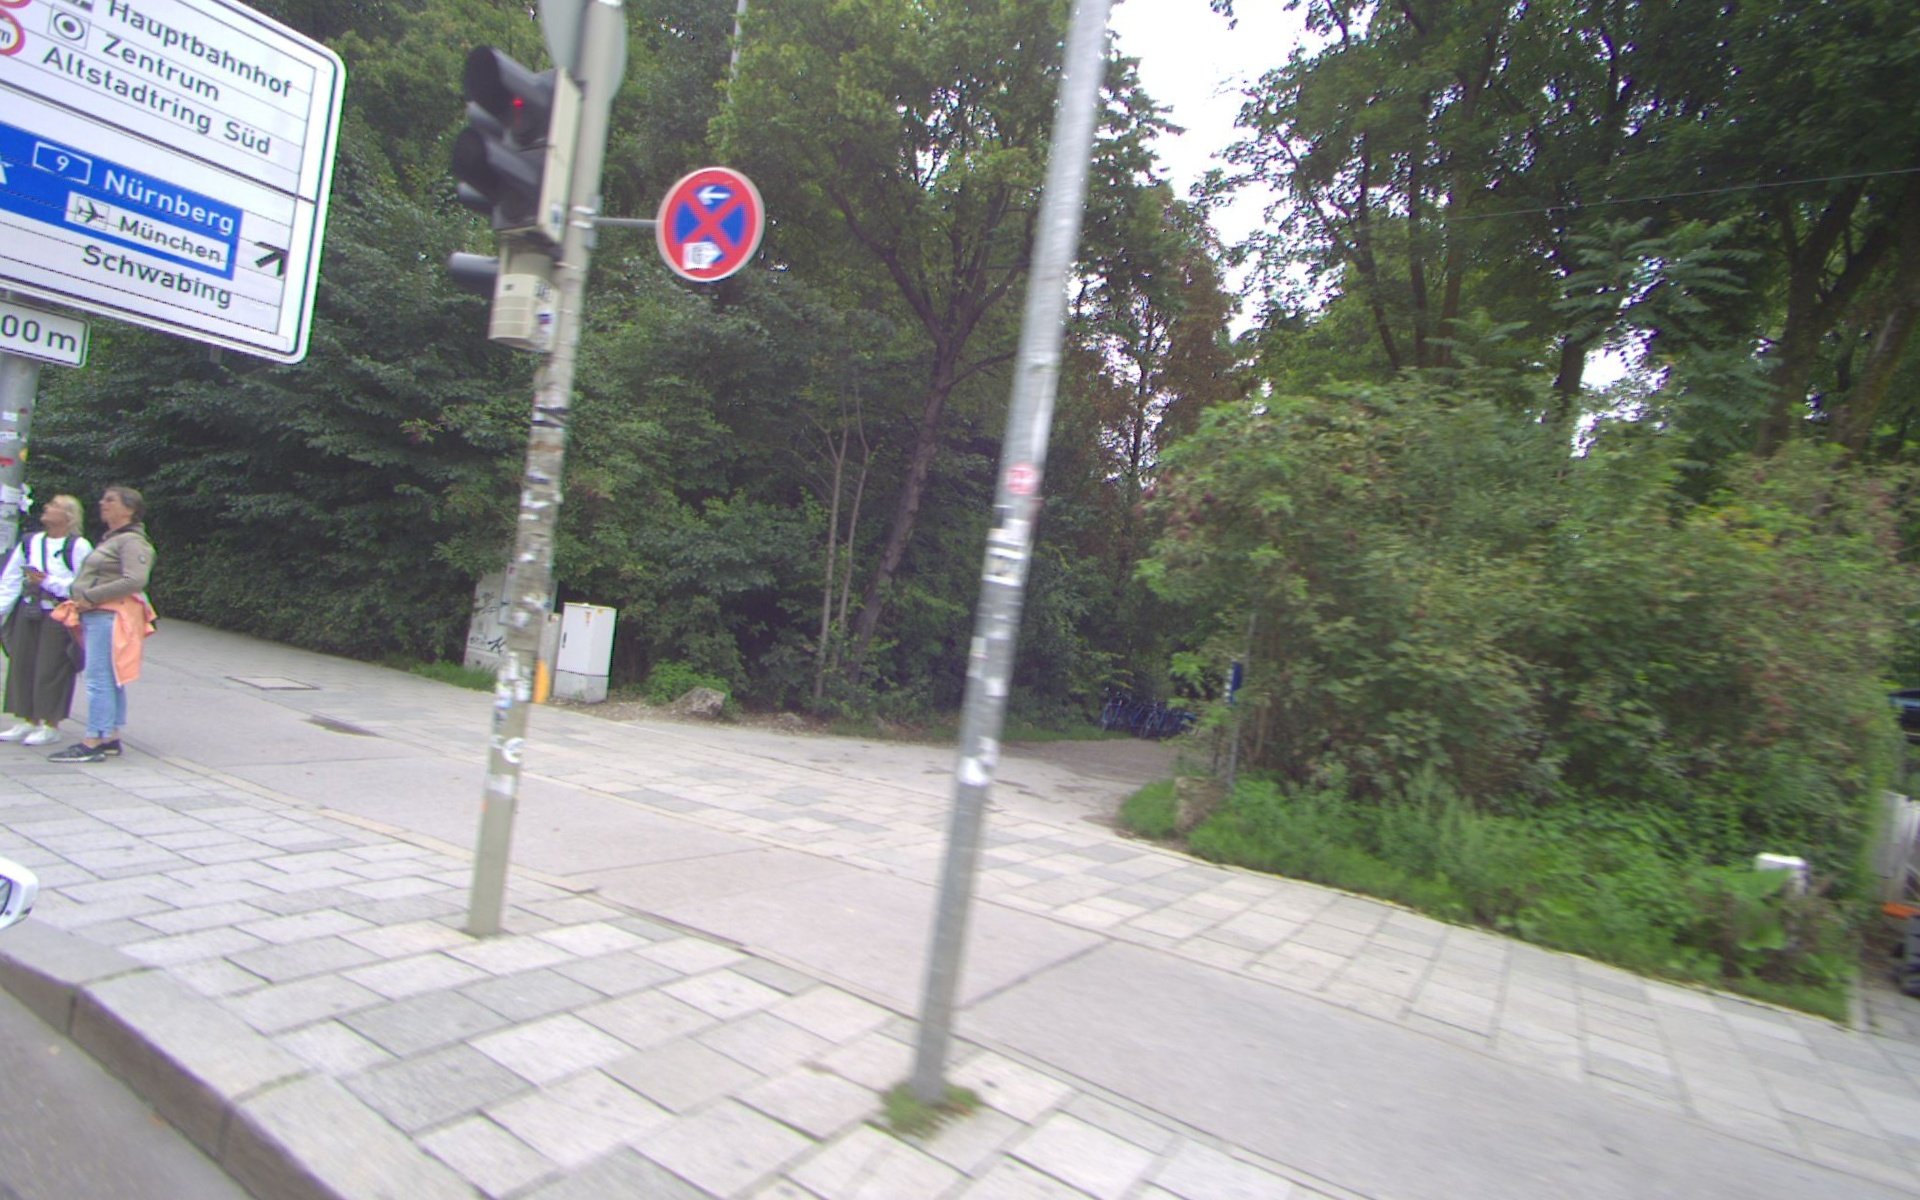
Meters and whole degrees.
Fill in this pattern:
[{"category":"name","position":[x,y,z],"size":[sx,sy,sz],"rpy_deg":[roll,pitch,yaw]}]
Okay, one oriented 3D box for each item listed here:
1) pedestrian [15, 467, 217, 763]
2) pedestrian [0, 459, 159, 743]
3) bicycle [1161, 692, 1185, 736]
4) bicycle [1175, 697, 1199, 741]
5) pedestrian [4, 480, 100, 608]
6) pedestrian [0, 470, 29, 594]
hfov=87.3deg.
[{"category":"pedestrian","position":[-5.492,0.100,6.564],"size":[0.624,1.781,0.611],"rpy_deg":[8,0,24]},{"category":"pedestrian","position":[-6.061,0.016,6.802],"size":[0.624,1.781,0.626],"rpy_deg":[8,0,27]},{"category":"bicycle","position":[6.279,3.330,29.607],"size":[0.374,1.206,1.853],"rpy_deg":[8,-2,18]},{"category":"bicycle","position":[6.669,3.461,29.484],"size":[0.374,1.206,1.853],"rpy_deg":[8,-2,18]},{"category":"pedestrian","position":[-14.426,-0.886,15.992],"size":[0.744,1.859,0.752],"rpy_deg":[8,-2,32]},{"category":"pedestrian","position":[-14.920,-1.090,15.358],"size":[0.630,1.859,0.672],"rpy_deg":[8,-2,32]}]
